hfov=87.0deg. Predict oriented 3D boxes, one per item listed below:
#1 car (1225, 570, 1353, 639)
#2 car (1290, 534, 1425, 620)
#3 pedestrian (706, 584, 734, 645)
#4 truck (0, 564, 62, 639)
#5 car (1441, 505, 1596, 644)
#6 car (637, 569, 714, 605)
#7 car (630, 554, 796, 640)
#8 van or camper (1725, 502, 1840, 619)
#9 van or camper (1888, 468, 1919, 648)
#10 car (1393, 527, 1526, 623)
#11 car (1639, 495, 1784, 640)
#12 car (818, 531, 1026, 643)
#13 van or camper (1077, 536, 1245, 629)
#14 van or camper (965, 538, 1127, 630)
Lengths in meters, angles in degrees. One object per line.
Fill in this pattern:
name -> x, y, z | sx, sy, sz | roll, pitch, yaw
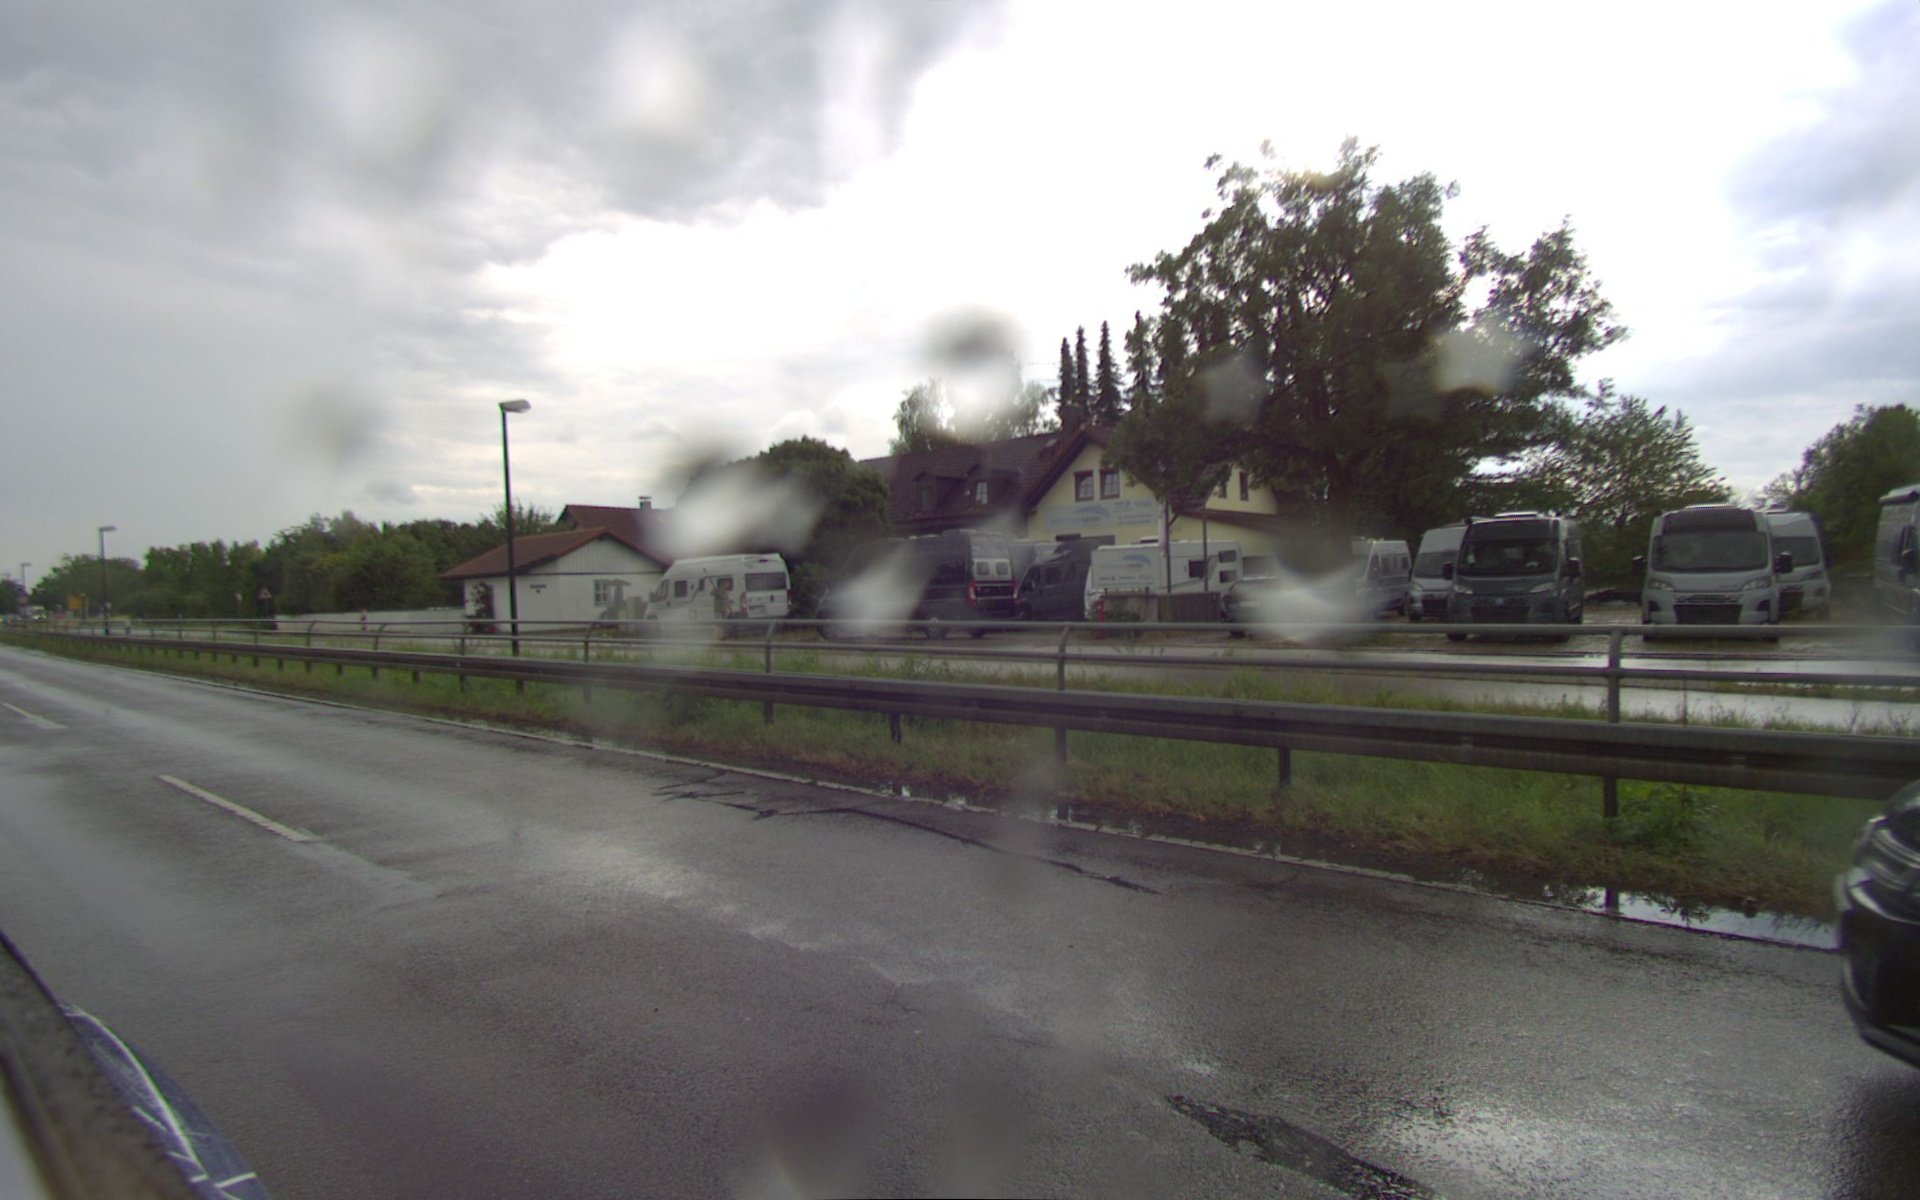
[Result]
car -> 8.172, 0.074, 24.972 | 1.540, 1.507, 3.843 | -1, 1, 42
car -> 12.665, -0.742, 31.993 | 2.090, 2.435, 6.030 | -2, 1, 40
pedestrian -> -6.919, 0.412, 29.165 | 0.509, 1.723, 0.651 | -2, 1, -41
truck -> -67.272, 0.125, 72.464 | 7.777, 5.071, 3.216 | -1, 1, 40
car -> 11.708, -0.529, 21.013 | 1.997, 2.520, 5.134 | -2, 1, 38
car -> -11.512, -0.512, 40.925 | 3.269, 1.366, 1.433 | -1, 1, 42
car -> -8.299, -0.068, 33.619 | 6.016, 2.600, 2.214 | -1, 1, 41
van or camper -> 20.723, -0.968, 25.553 | 1.998, 2.609, 5.748 | -2, 1, 39
van or camper -> 16.582, -0.704, 16.235 | 2.079, 2.697, 5.818 | -2, 1, 39
car -> 14.895, -0.752, 29.974 | 2.090, 2.557, 6.030 | -2, 1, 40
car -> 14.739, -0.625, 19.824 | 1.997, 2.477, 5.044 | -2, 1, 38
car -> -1.143, -0.321, 27.838 | 5.570, 2.783, 2.359 | -1, 1, 41
van or camper -> 6.451, -0.587, 31.849 | 2.559, 2.611, 6.162 | -2, 1, 39
van or camper -> 3.016, -0.577, 33.963 | 2.432, 2.822, 5.994 | -2, 1, 39
